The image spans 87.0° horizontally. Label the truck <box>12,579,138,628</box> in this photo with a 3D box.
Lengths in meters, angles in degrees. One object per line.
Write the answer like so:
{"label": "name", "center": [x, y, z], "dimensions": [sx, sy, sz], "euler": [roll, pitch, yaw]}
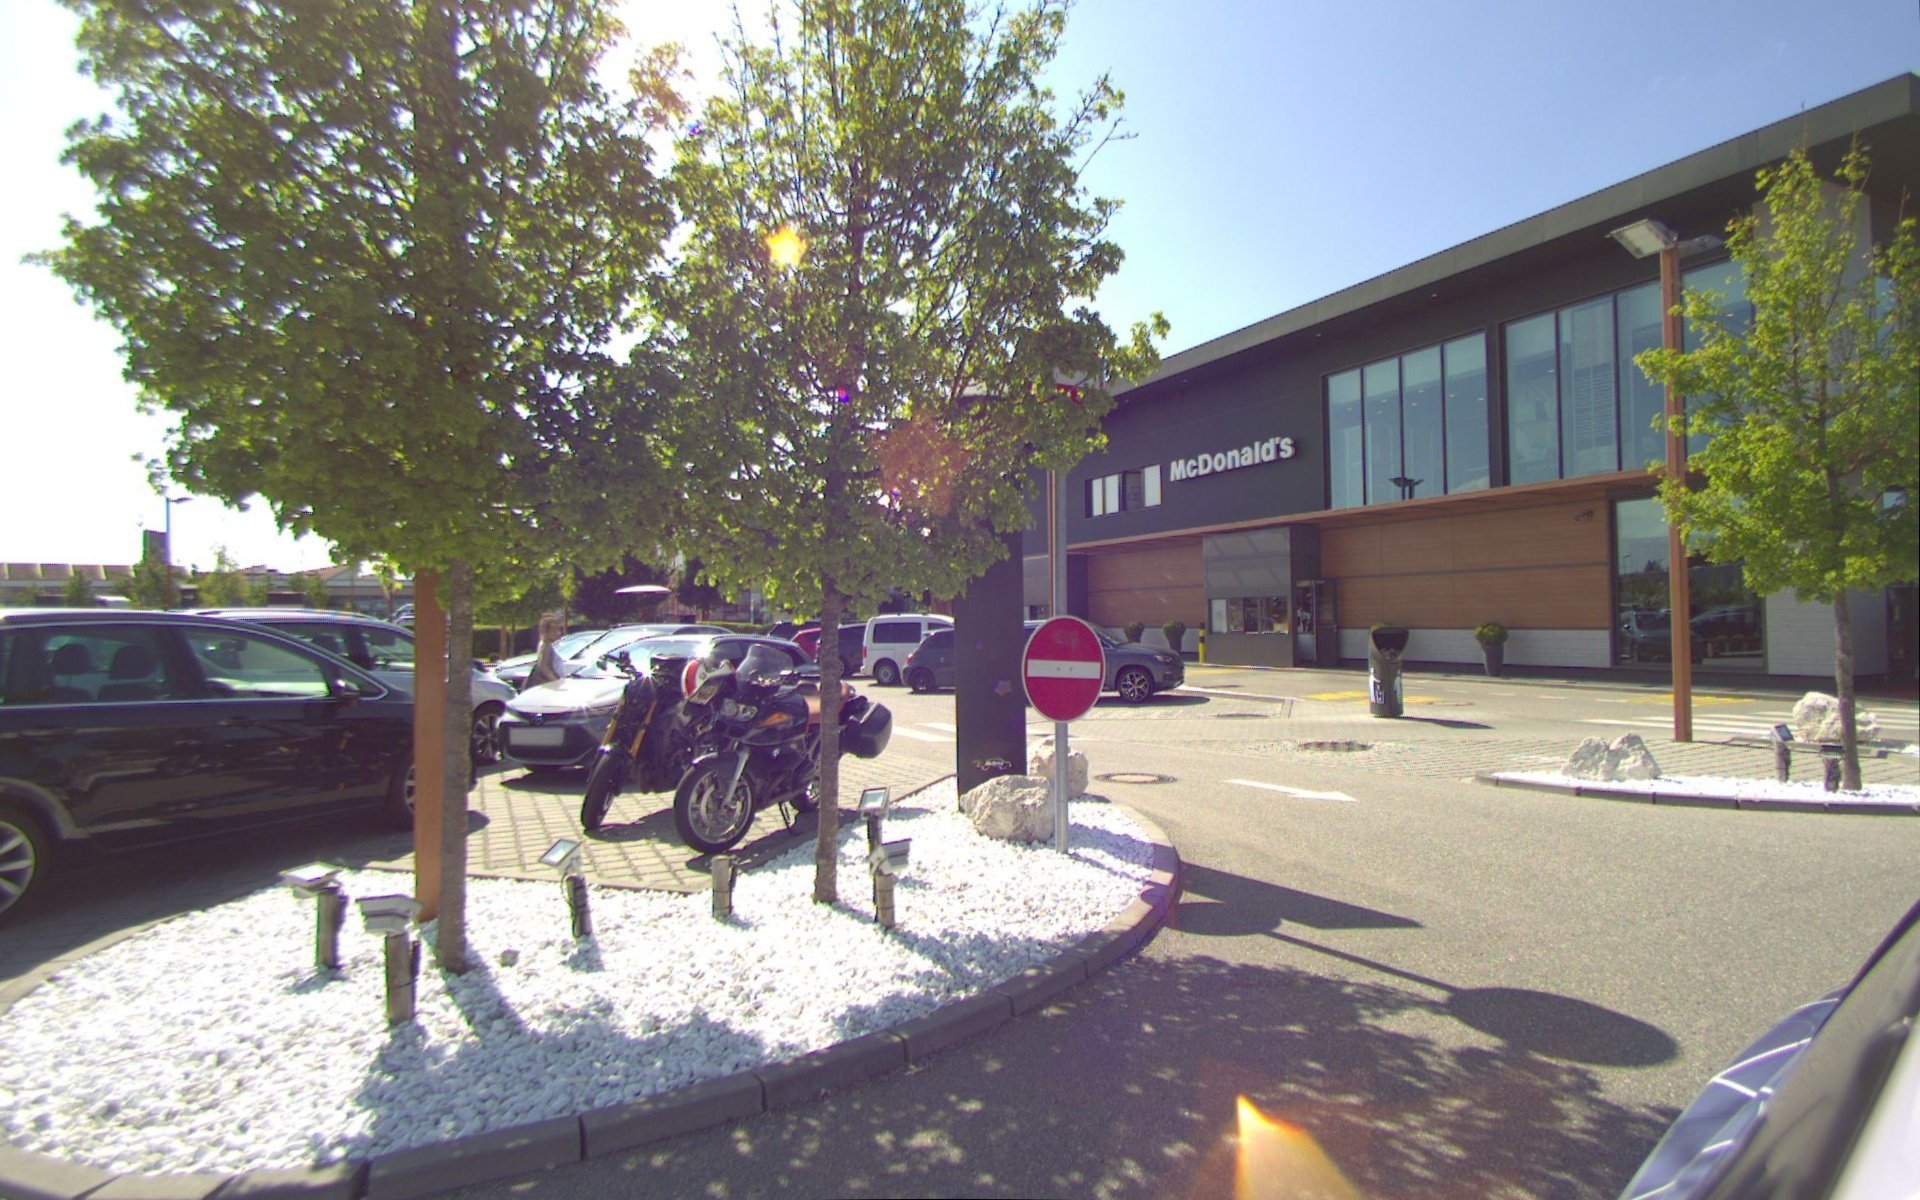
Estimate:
{"label": "truck", "center": [-62.753, 0.293, 71.827], "dimensions": [7.438, 3.395, 2.417], "euler": [0, -1, 8]}

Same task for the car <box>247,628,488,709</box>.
{"label": "car", "center": [-12.837, 1.413, 22.278], "dimensions": [1.958, 1.530, 4.388], "euler": [-1, -1, 19]}

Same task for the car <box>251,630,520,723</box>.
{"label": "car", "center": [-10.973, 1.381, 19.746], "dimensions": [1.958, 1.530, 4.388], "euler": [-1, -1, 19]}

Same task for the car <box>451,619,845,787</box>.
{"label": "car", "center": [-3.155, 1.017, 11.412], "dimensions": [1.813, 1.466, 4.629], "euler": [-1, -3, 20]}

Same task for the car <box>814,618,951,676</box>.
{"label": "car", "center": [-2.259, 1.382, 30.068], "dimensions": [3.779, 1.653, 1.754], "euler": [-1, -1, 8]}

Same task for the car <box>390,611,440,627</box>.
{"label": "car", "center": [-48.230, 1.676, 89.646], "dimensions": [3.828, 1.359, 1.667], "euler": [0, -1, -27]}

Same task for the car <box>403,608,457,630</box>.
{"label": "car", "center": [-44.136, 1.575, 84.290], "dimensions": [3.920, 1.750, 1.896], "euler": [0, -2, -30]}

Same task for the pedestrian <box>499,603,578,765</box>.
{"label": "pedestrian", "center": [-4.681, 0.905, 11.246], "dimensions": [0.605, 1.735, 0.558], "euler": [-1, -2, 27]}

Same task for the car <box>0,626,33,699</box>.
{"label": "car", "center": [-22.423, 1.347, 21.415], "dimensions": [4.276, 1.531, 1.776], "euler": [-1, -1, 6]}

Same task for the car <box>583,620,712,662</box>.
{"label": "car", "center": [-13.189, 1.684, 42.743], "dimensions": [4.961, 1.651, 1.927], "euler": [0, -1, -28]}

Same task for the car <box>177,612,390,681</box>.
{"label": "car", "center": [-15.592, 1.034, 23.555], "dimensions": [1.686, 1.444, 3.875], "euler": [-1, -2, 21]}

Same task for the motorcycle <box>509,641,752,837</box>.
{"label": "motorcycle", "center": [-2.391, 0.951, 7.688], "dimensions": [0.808, 1.247, 2.133], "euler": [-2, -2, 12]}

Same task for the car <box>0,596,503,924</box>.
{"label": "car", "center": [-5.090, 0.794, 6.261], "dimensions": [1.870, 1.557, 4.167], "euler": [-1, -1, 17]}

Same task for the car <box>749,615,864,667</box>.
{"label": "car", "center": [-5.507, 1.454, 36.663], "dimensions": [3.959, 1.727, 1.676], "euler": [-1, -1, -4]}

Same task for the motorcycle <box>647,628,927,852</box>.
{"label": "motorcycle", "center": [-1.074, 0.863, 7.001], "dimensions": [1.056, 1.267, 2.240], "euler": [-2, -3, 15]}

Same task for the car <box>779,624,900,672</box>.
{"label": "car", "center": [-3.926, 1.556, 33.289], "dimensions": [3.703, 1.462, 1.673], "euler": [-1, -1, 3]}

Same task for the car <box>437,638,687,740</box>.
{"label": "car", "center": [-6.693, 1.430, 17.518], "dimensions": [1.806, 1.467, 4.047], "euler": [-1, -1, 21]}

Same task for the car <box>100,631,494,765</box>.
{"label": "car", "center": [-8.257, 1.120, 13.096], "dimensions": [1.770, 1.426, 4.056], "euler": [-1, -2, 18]}

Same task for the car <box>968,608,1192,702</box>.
{"label": "car", "center": [2.450, 1.107, 20.456], "dimensions": [4.171, 1.623, 1.781], "euler": [-3, 0, 18]}

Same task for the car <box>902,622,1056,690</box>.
{"label": "car", "center": [0.471, 1.296, 23.790], "dimensions": [3.364, 1.501, 1.561], "euler": [-1, -2, 14]}

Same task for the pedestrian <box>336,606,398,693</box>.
{"label": "pedestrian", "center": [-13.588, 1.115, 23.209], "dimensions": [1.007, 1.940, 0.904], "euler": [0, -2, -14]}

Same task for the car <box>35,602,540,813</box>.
{"label": "car", "center": [-6.368, 0.910, 10.208], "dimensions": [1.725, 1.661, 4.041], "euler": [-1, -2, 19]}

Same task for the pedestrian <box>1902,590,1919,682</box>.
{"label": "pedestrian", "center": [17.029, 0.623, 17.515], "dimensions": [0.713, 1.604, 0.742], "euler": [0, -2, -16]}

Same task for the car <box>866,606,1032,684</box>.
{"label": "car", "center": [-0.257, 1.170, 26.759], "dimensions": [4.083, 1.946, 1.750], "euler": [-1, -1, 14]}

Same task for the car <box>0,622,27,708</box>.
{"label": "car", "center": [-18.985, 1.178, 18.082], "dimensions": [3.949, 1.508, 1.808], "euler": [-1, -1, 20]}

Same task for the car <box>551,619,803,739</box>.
{"label": "car", "center": [-4.269, 1.125, 15.927], "dimensions": [1.790, 1.614, 3.970], "euler": [-1, -1, 22]}
